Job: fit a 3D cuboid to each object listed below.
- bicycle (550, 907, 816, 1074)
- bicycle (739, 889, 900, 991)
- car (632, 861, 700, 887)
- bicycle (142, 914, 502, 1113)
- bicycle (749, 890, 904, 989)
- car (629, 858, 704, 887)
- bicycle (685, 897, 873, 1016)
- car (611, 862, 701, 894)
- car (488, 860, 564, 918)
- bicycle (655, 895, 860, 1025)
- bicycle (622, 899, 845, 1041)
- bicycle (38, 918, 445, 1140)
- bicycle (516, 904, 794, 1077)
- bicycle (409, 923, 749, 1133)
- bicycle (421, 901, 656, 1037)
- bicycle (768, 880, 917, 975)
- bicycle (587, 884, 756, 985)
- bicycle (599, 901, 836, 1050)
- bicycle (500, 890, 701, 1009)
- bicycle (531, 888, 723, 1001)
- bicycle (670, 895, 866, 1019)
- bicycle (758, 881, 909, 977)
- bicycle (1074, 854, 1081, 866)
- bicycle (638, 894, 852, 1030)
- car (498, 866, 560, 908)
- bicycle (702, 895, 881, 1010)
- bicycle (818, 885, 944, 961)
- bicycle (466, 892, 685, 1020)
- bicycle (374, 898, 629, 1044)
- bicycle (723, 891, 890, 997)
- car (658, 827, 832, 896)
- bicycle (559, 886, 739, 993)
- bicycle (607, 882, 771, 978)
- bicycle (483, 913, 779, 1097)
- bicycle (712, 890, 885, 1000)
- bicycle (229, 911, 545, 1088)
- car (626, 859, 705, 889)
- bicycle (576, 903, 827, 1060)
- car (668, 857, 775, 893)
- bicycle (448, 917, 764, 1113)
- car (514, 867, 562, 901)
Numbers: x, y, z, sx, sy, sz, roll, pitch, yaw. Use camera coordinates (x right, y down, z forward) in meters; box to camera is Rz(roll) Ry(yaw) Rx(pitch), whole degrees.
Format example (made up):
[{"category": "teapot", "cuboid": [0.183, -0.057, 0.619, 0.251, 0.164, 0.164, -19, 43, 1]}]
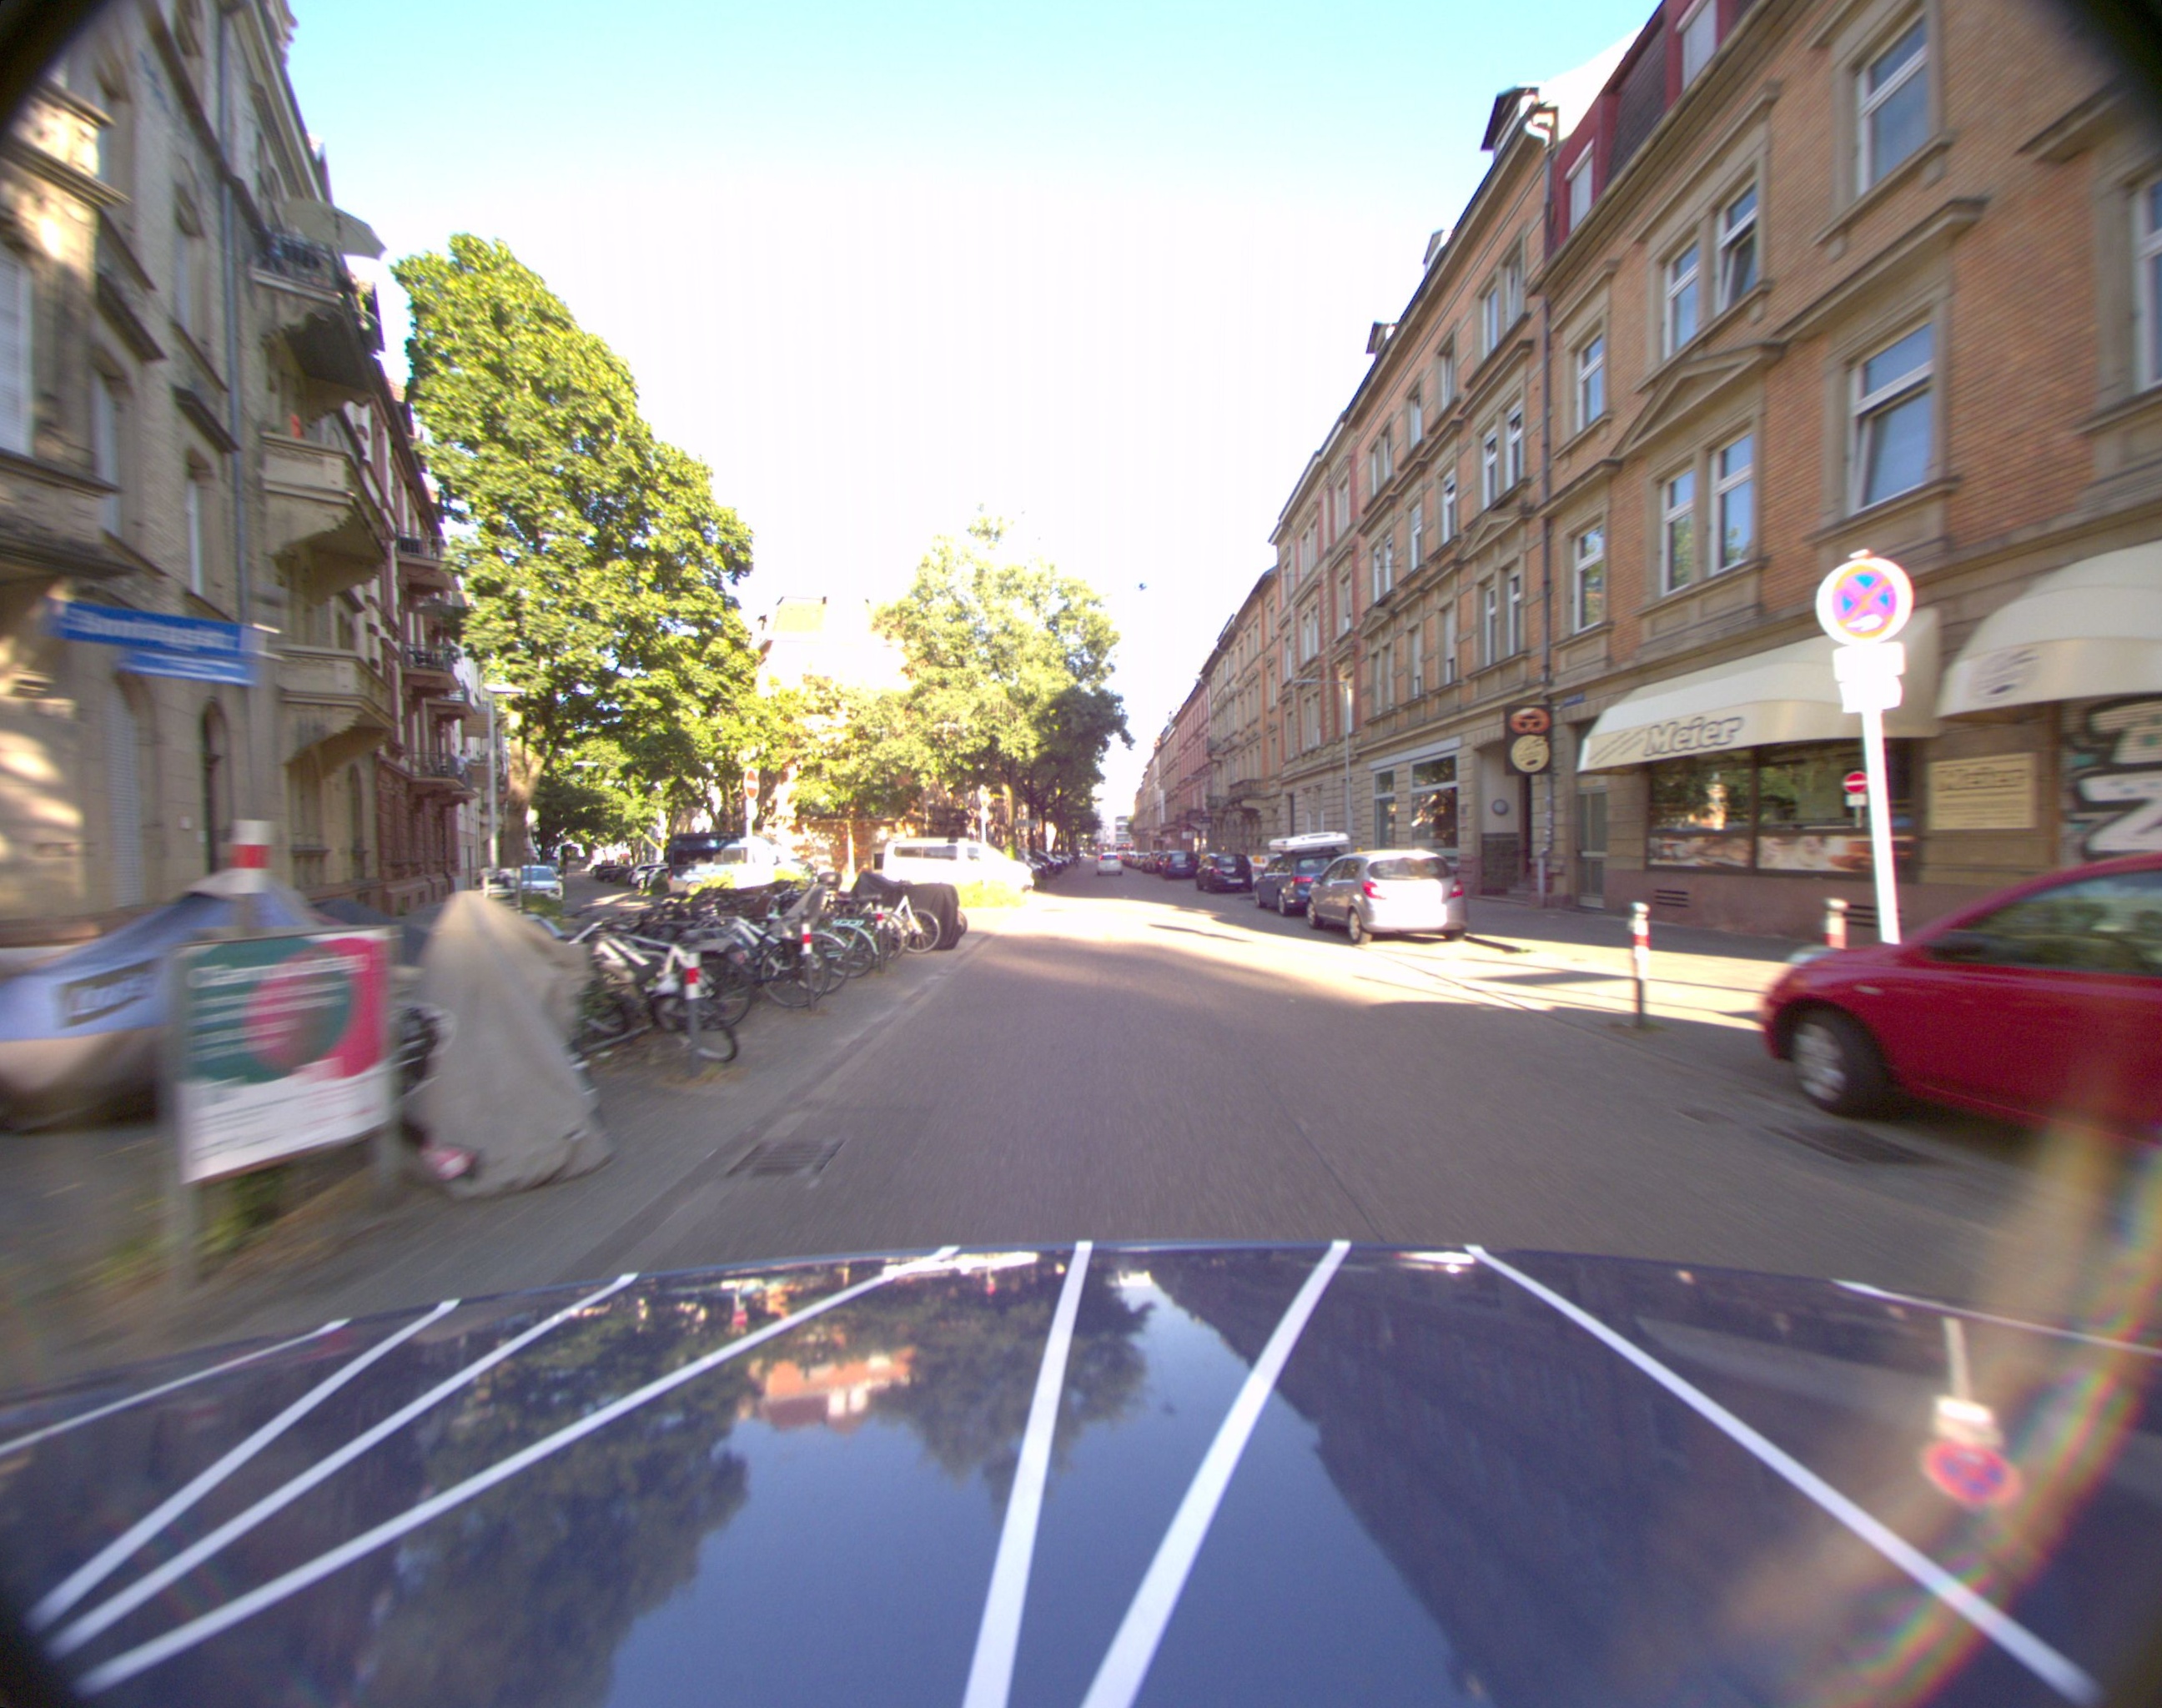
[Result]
[{"category": "bicycle", "cuboid": [-3.239, 1.102, 6.267, 1.930, 1.239, 0.303, -2, 1, -5]}, {"category": "bicycle", "cuboid": [-3.393, 1.111, 9.935, 1.930, 1.239, 0.303, -2, 1, -5]}, {"category": "car", "cuboid": [-30.440, 1.452, 55.832, 4.001, 1.711, 1.780, -2, 1, -11]}, {"category": "bicycle", "cuboid": [-5.363, 1.102, 5.452, 1.930, 1.239, 0.479, -2, 1, -5]}, {"category": "bicycle", "cuboid": [-3.411, 1.141, 10.265, 1.930, 1.239, 0.303, -2, 1, -5]}, {"category": "car", "cuboid": [-27.760, 1.249, 51.035, 4.001, 1.711, 1.780, -2, 1, -11]}, {"category": "bicycle", "cuboid": [-3.392, 1.141, 8.614, 1.930, 1.239, 0.303, -2, 1, -5]}, {"category": "car", "cuboid": [-23.641, 1.318, 42.396, 4.002, 1.556, 1.779, -2, 1, -14]}, {"category": "car", "cuboid": [-17.515, 1.029, 24.106, 1.784, 1.601, 4.207, -2, 1, -35]}, {"category": "bicycle", "cuboid": [-3.350, 1.092, 7.950, 1.930, 1.239, 0.303, -2, 1, -5]}, {"category": "bicycle", "cuboid": [-3.296, 1.089, 7.279, 1.911, 1.239, 0.303, -2, 1, -5]}, {"category": "bicycle", "cuboid": [-5.334, 1.087, 4.907, 1.930, 1.239, 0.452, -2, 1, -5]}, {"category": "bicycle", "cuboid": [-3.332, 1.059, 6.028, 1.930, 1.239, 0.303, -2, 1, -5]}, {"category": "bicycle", "cuboid": [-3.279, 1.127, 5.047, 1.930, 1.239, 0.303, -2, 1, -5]}, {"category": "bicycle", "cuboid": [-5.456, 1.140, 7.715, 1.930, 1.239, 0.479, -2, 1, -5]}, {"category": "bicycle", "cuboid": [-3.437, 1.048, 11.071, 1.930, 1.239, 0.648, -2, 1, -5]}, {"category": "bicycle", "cuboid": [-5.470, 1.063, 10.222, 1.930, 1.239, 0.479, -2, 1, -5]}, {"category": "bicycle", "cuboid": [-3.282, 1.085, 6.940, 1.930, 1.239, 0.303, -2, 1, -5]}, {"category": "bicycle", "cuboid": [-5.436, 1.070, 8.663, 1.930, 1.239, 0.395, -2, 1, -5]}, {"category": "bicycle", "cuboid": [-5.426, 1.067, 9.148, 1.930, 1.239, 0.479, -2, 1, -5]}, {"category": "bicycle", "cuboid": [-3.381, 1.105, 8.283, 1.930, 1.239, 0.303, -2, 1, -5]}, {"category": "bicycle", "cuboid": [-3.420, 1.035, 10.571, 1.930, 1.239, 0.303, -2, 1, -5]}, {"category": "bicycle", "cuboid": [-0.344, 0.586, 77.059, 0.712, 1.252, 1.887, 0, 0, 1]}, {"category": "bicycle", "cuboid": [-3.330, 1.063, 7.611, 1.930, 1.239, 0.303, -2, 1, -5]}, {"category": "car", "cuboid": [-22.382, 1.280, 30.793, 1.871, 1.466, 4.233, -2, 1, -36]}, {"category": "bicycle", "cuboid": [-3.388, 1.144, 8.961, 1.930, 1.239, 0.303, -2, 1, -5]}, {"category": "bicycle", "cuboid": [-3.099, 1.065, 11.833, 1.822, 1.121, 0.443, 1, 1, 0]}, {"category": "bicycle", "cuboid": [-5.398, 1.072, 8.189, 1.930, 1.239, 0.479, -2, 1, -5]}, {"category": "bicycle", "cuboid": [-5.463, 1.086, 7.235, 1.930, 1.239, 0.479, -2, 1, -5]}, {"category": "bicycle", "cuboid": [-3.452, 1.128, 9.621, 1.930, 1.239, 0.303, -2, 1, -5]}, {"category": "car", "cuboid": [-13.423, 0.271, 30.729, 5.912, 2.523, 2.379, -1, 1, -5]}, {"category": "bicycle", "cuboid": [-5.463, 1.065, 9.681, 1.930, 1.239, 0.479, -2, 1, -5]}, {"category": "bicycle", "cuboid": [-5.541, 1.061, 10.833, 1.930, 1.239, 0.648, -2, 1, -5]}, {"category": "bicycle", "cuboid": [-3.326, 1.106, 5.703, 1.930, 1.239, 0.303, -2, 1, -5]}, {"category": "bicycle", "cuboid": [-3.423, 1.101, 9.285, 1.930, 1.239, 0.303, -2, 1, -5]}, {"category": "bicycle", "cuboid": [-5.466, 1.123, 6.061, 1.930, 1.239, 0.479, -2, 1, -5]}, {"category": "car", "cuboid": [-26.536, 1.246, 48.591, 4.001, 1.711, 1.780, -2, 1, -11]}, {"category": "bicycle", "cuboid": [-3.258, 1.087, 6.599, 1.930, 1.239, 0.303, -2, 1, -5]}, {"category": "car", "cuboid": [-16.635, 0.964, 35.306, 4.066, 1.501, 1.862, -1, 1, -3]}, {"category": "bicycle", "cuboid": [-3.307, 1.107, 5.370, 1.930, 1.239, 0.303, -2, 1, -5]}, {"category": "car", "cuboid": [-27.952, 1.487, 39.086, 1.871, 1.573, 4.233, -2, 1, -36]}]
